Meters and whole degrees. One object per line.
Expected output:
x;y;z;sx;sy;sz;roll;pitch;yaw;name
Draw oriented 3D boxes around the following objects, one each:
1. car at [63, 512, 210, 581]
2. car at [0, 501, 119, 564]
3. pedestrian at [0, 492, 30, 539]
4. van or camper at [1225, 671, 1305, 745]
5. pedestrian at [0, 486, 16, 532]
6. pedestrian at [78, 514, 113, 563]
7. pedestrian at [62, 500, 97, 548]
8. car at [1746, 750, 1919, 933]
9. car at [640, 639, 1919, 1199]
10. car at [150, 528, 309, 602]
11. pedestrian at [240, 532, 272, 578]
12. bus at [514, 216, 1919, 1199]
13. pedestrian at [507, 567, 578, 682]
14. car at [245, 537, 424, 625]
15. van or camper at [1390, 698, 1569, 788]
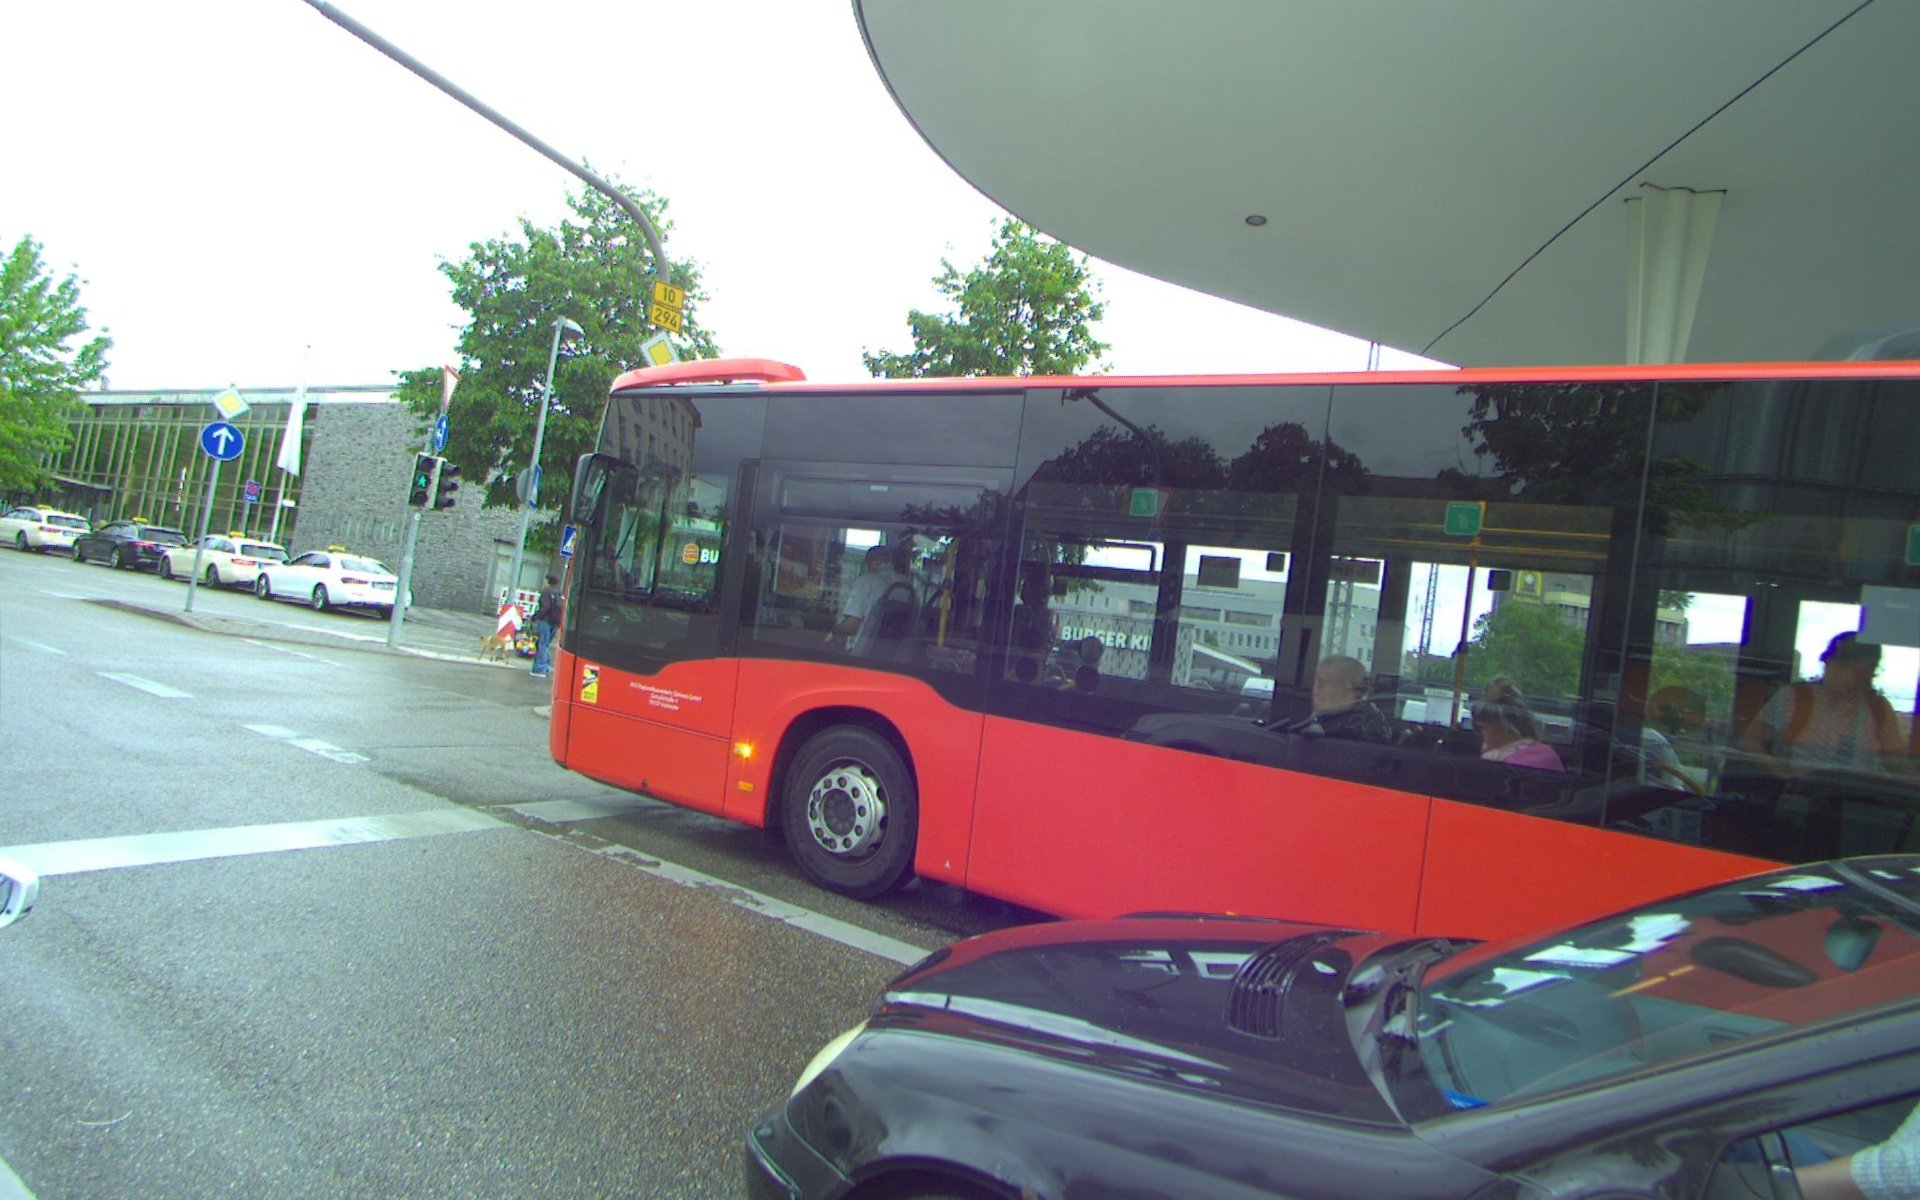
-25.839;-1.697;31.521;4.662;1.542;1.918;7;-2;30;car
-31.434;-2.372;34.532;4.736;1.618;2.000;7;-2;25;car
-44.175;-3.944;46.924;0.814;2.037;0.771;7;-1;30;pedestrian
12.539;4.411;41.006;2.072;2.491;5.975;7;-3;25;van or camper
-52.523;-5.000;55.064;0.848;2.439;0.844;7;-1;34;pedestrian
-32.795;-2.343;38.165;0.703;1.729;0.566;7;-2;27;pedestrian
-40.373;-3.477;46.133;0.814;2.037;0.771;7;-1;30;pedestrian
11.230;2.799;10.557;4.360;1.666;1.806;7;-4;32;car
1.745;1.133;1.497;4.361;1.494;1.752;6;-6;31;car
-20.632;-1.002;28.379;4.588;1.468;1.851;7;-2;30;car
-27.034;-1.719;38.643;0.703;1.665;0.565;7;-1;27;pedestrian
2.159;0.336;5.287;10.026;3.210;2.749;7;-2;32;bus
-6.625;0.391;16.014;0.799;1.693;0.709;8;-1;-20;pedestrian
-15.854;-0.506;25.451;4.538;1.608;1.779;7;-2;30;car
20.338;5.547;39.536;5.873;2.491;2.108;7;-2;32;van or camper
